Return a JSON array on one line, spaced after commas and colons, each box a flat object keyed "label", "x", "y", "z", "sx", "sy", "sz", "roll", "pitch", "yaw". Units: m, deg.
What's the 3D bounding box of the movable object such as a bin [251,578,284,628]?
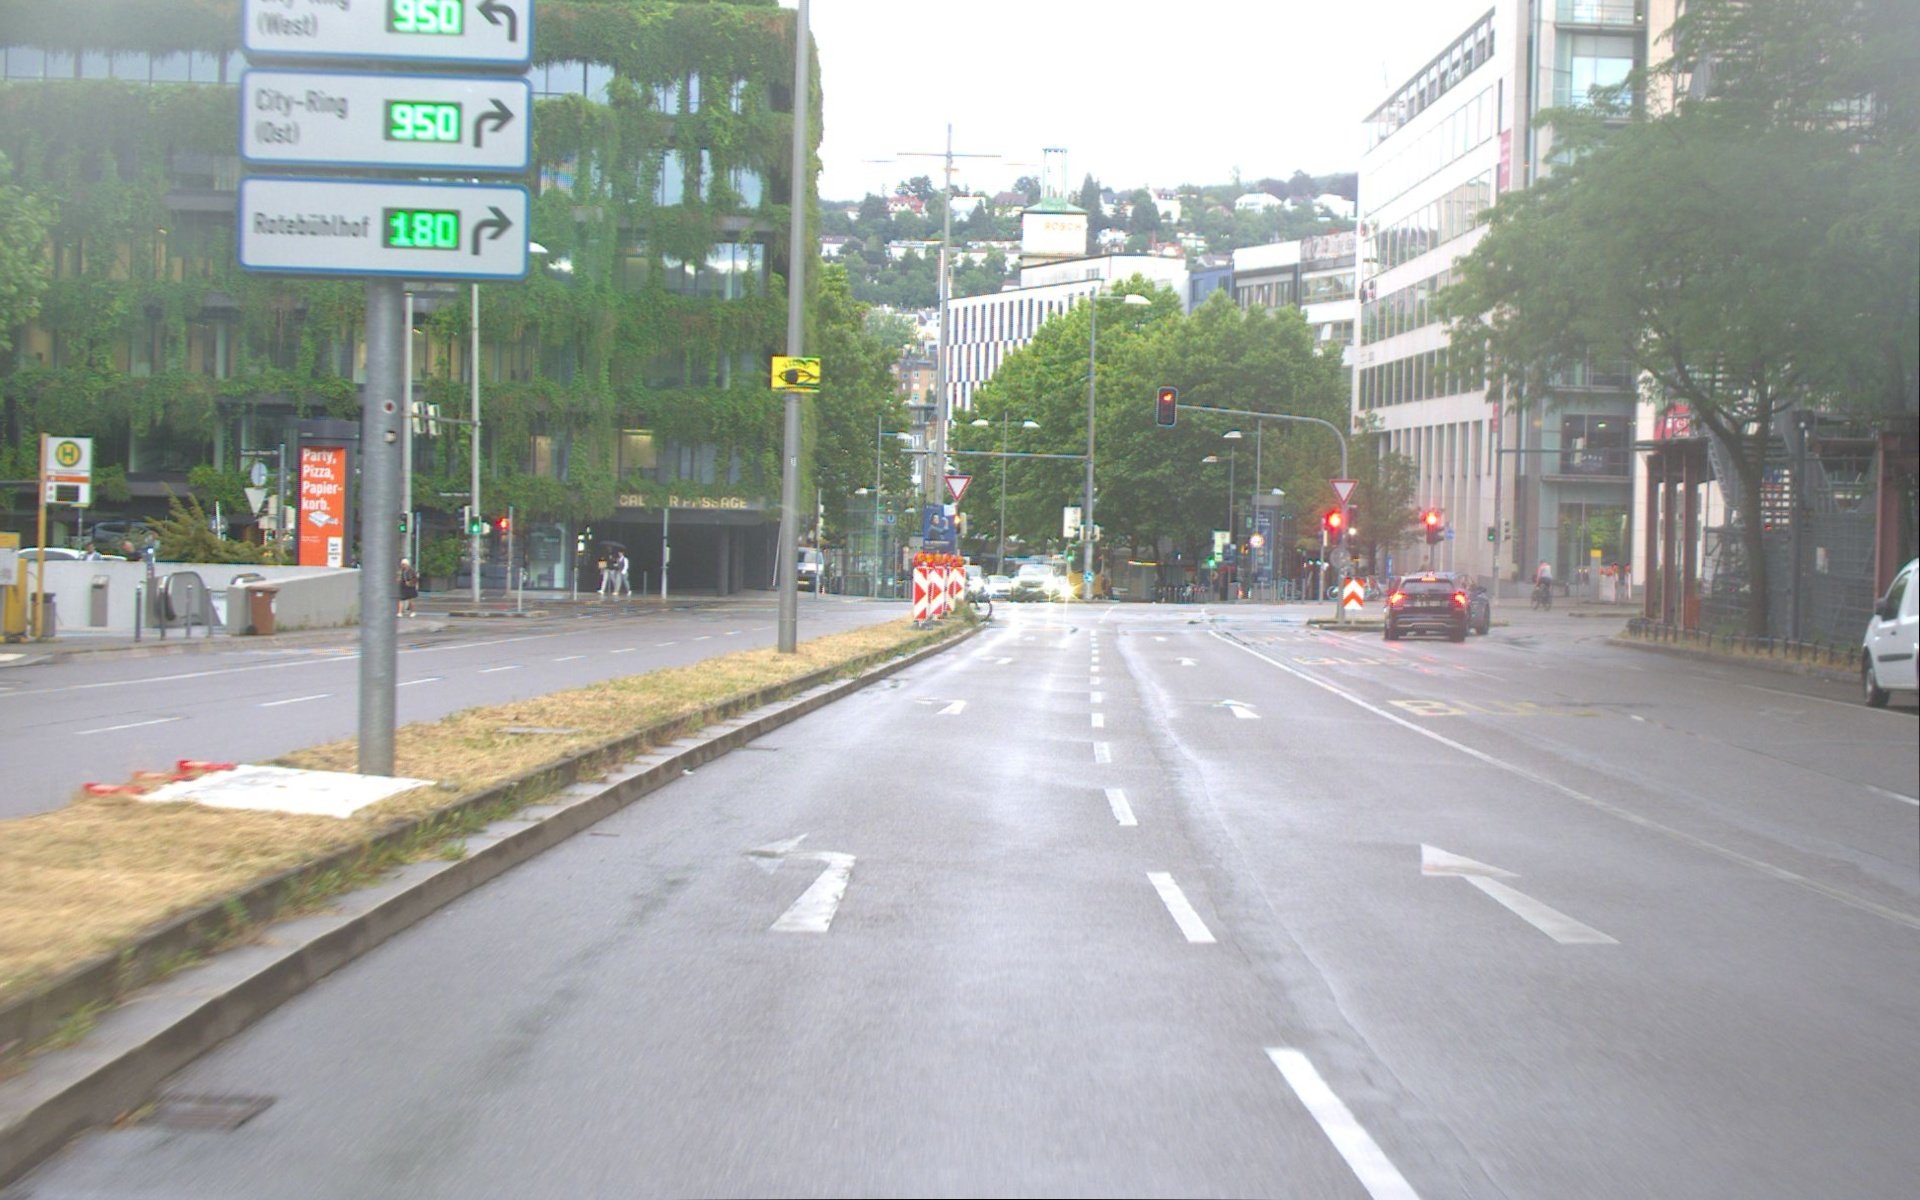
[{"label": "movable object such as a bin", "x": -12.830, "y": 0.055, "z": 63.712, "sx": 0.531, "sy": 0.894, "sz": 0.682, "roll": -1, "pitch": 1, "yaw": -7}]

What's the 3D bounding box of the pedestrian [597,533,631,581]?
[{"label": "pedestrian", "x": -12.739, "y": -1.600, "z": 126.606, "sx": 0.935, "sy": 1.752, "sz": 1.172, "roll": 1, "pitch": 1, "yaw": -21}]

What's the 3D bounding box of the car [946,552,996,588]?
[{"label": "car", "x": 0.458, "y": -1.291, "z": 148.027, "sx": 1.856, "sy": 1.443, "sz": 4.621, "roll": 1, "pitch": 1, "yaw": -4}]

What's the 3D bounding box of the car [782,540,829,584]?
[{"label": "car", "x": -6.836, "y": -1.700, "z": 152.369, "sx": 1.993, "sy": 1.888, "sz": 4.465, "roll": 1, "pitch": 1, "yaw": -2}]

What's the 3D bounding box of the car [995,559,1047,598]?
[{"label": "car", "x": 2.548, "y": -0.893, "z": 141.923, "sx": 1.994, "sy": 1.545, "sz": 4.555, "roll": 1, "pitch": 1, "yaw": 3}]

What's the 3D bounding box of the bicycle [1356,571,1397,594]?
[{"label": "bicycle", "x": 17.866, "y": -0.757, "z": 147.596, "sx": 1.799, "sy": 0.931, "sz": 0.474, "roll": 1, "pitch": 1, "yaw": 44}]

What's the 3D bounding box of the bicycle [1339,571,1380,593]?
[{"label": "bicycle", "x": 17.068, "y": -0.759, "z": 146.996, "sx": 1.799, "sy": 0.931, "sz": 0.474, "roll": 1, "pitch": 1, "yaw": 44}]

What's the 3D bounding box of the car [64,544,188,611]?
[{"label": "car", "x": -24.807, "y": -0.678, "z": 102.395, "sx": 3.448, "sy": 1.915, "sz": 2.001, "roll": 1, "pitch": 1, "yaw": -10}]

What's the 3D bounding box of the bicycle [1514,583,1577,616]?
[{"label": "bicycle", "x": 20.836, "y": -0.019, "z": 122.395, "sx": 0.791, "sy": 1.113, "sz": 2.255, "roll": 1, "pitch": 1, "yaw": -38}]

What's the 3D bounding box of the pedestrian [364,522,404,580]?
[{"label": "pedestrian", "x": -16.188, "y": -1.374, "z": 96.573, "sx": 0.920, "sy": 1.580, "sz": 0.834, "roll": -3, "pitch": 1, "yaw": -2}]

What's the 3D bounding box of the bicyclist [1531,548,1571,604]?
[{"label": "bicyclist", "x": 21.006, "y": -0.869, "z": 122.185, "sx": 0.791, "sy": 1.968, "sz": 1.114, "roll": 1, "pitch": 1, "yaw": -38}]

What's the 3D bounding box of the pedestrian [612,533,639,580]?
[{"label": "pedestrian", "x": -12.346, "y": -1.606, "z": 126.703, "sx": 0.741, "sy": 1.752, "sz": 0.976, "roll": 1, "pitch": 1, "yaw": -21}]

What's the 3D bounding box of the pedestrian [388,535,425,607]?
[{"label": "pedestrian", "x": -14.786, "y": -0.772, "z": 91.896, "sx": 0.805, "sy": 1.879, "sz": 0.866, "roll": -3, "pitch": 1, "yaw": -4}]

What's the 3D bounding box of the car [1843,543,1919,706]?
[{"label": "car", "x": 11.368, "y": 0.255, "z": 38.386, "sx": 1.994, "sy": 1.744, "sz": 4.526, "roll": 1, "pitch": 1, "yaw": 2}]

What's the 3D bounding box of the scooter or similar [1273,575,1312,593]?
[{"label": "scooter or similar", "x": 15.722, "y": -0.755, "z": 162.469, "sx": 1.745, "sy": 0.875, "sz": 0.489, "roll": 0, "pitch": 0, "yaw": -16}]

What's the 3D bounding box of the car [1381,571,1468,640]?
[{"label": "car", "x": 10.783, "y": 0.106, "z": 79.998, "sx": 1.778, "sy": 1.534, "sz": 4.146, "roll": 1, "pitch": 1, "yaw": 5}]

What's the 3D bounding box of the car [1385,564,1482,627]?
[{"label": "car", "x": 12.036, "y": -0.137, "z": 87.181, "sx": 1.705, "sy": 1.524, "sz": 4.423, "roll": 1, "pitch": 1, "yaw": 18}]
